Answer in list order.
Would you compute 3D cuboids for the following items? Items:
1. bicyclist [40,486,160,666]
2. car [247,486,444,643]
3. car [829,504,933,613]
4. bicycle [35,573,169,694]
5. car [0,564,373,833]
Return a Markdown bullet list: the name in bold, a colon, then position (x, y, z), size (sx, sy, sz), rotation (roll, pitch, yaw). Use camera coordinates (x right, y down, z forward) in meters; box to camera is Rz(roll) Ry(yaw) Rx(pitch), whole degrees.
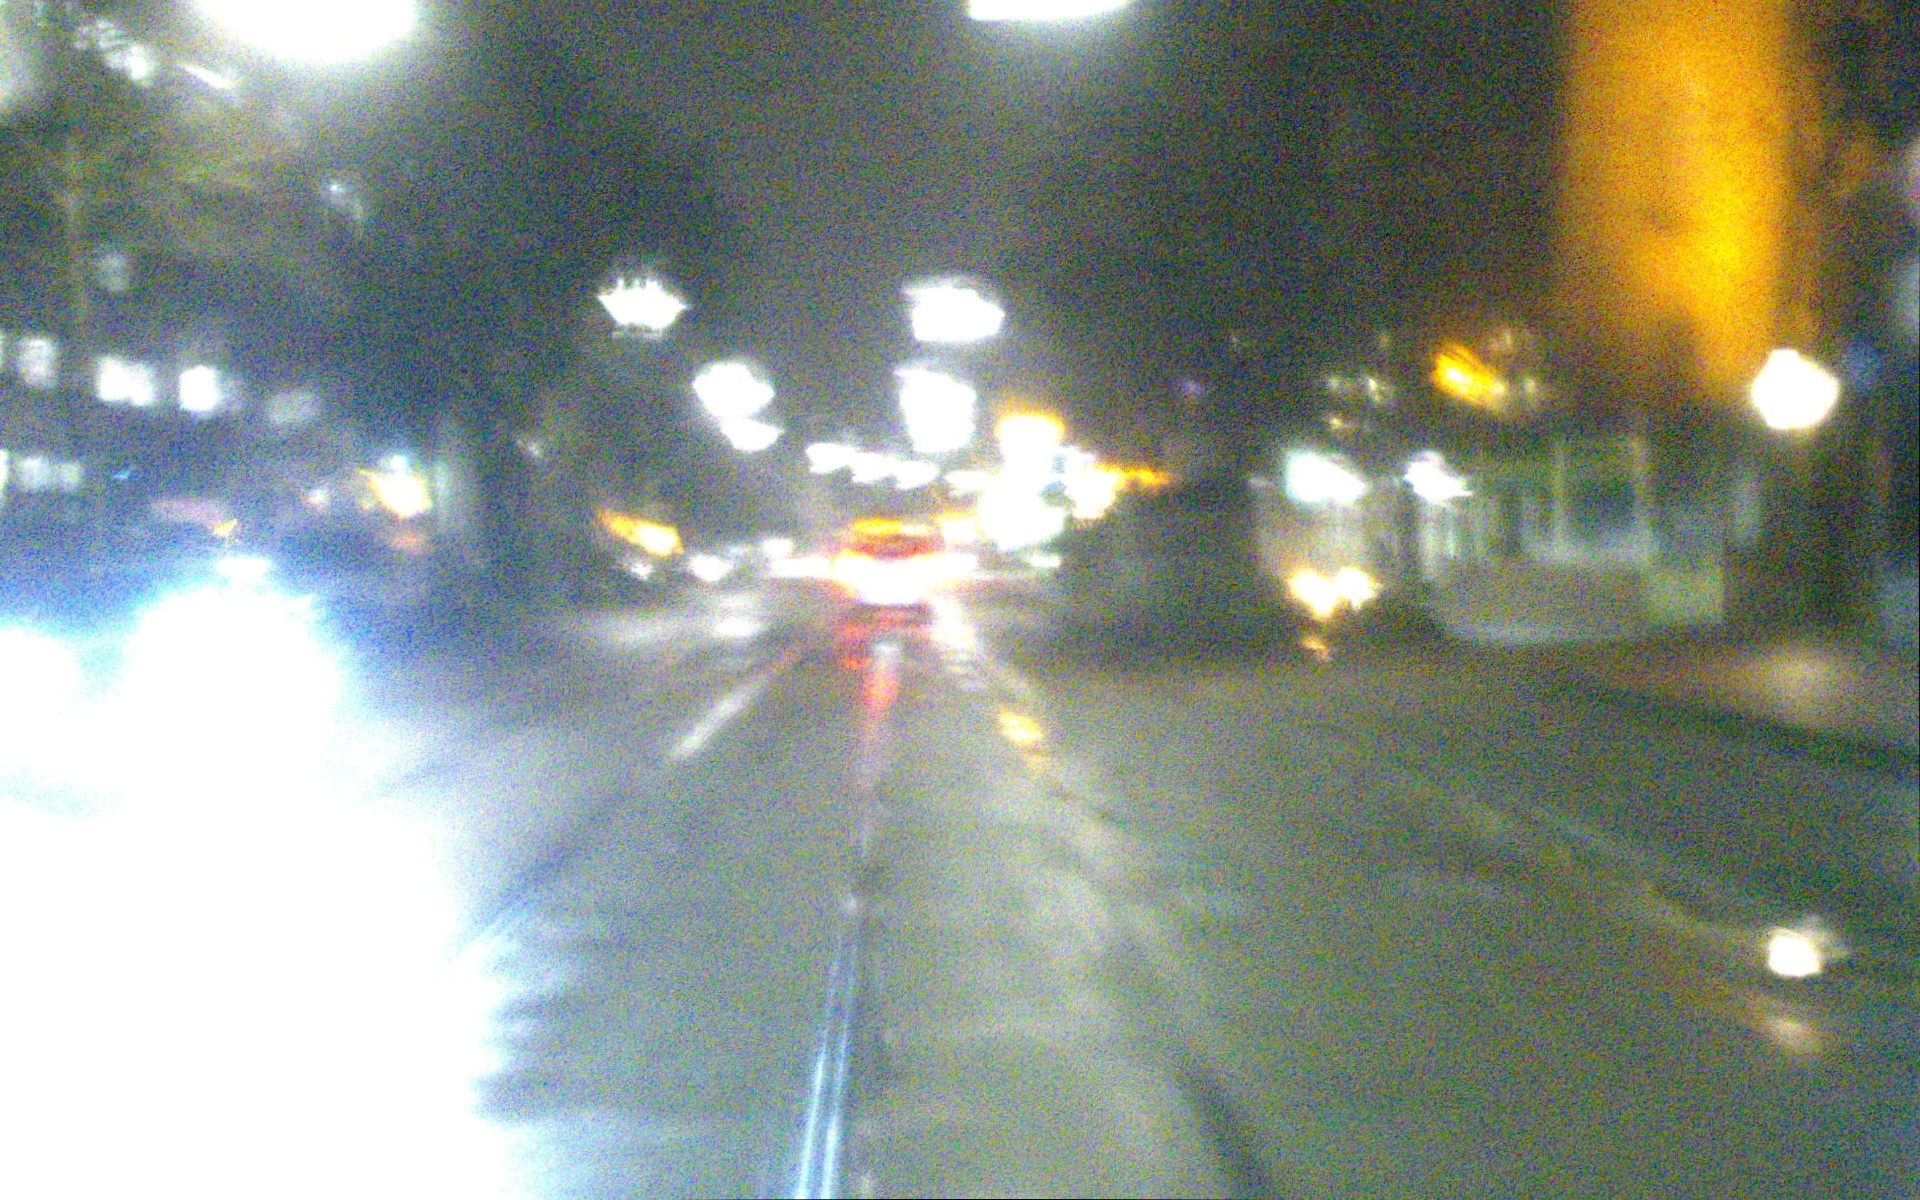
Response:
- **bicyclist**: position (-8.218, -0.235, 32.896), size (0.782, 1.650, 1.206), rotation (-3, 1, -1)
- **car**: position (-10.698, -0.678, 60.346), size (2.185, 2.582, 6.392), rotation (0, 2, 1)
- **car**: position (-1.802, -0.937, 77.172), size (2.244, 2.353, 4.394), rotation (0, 1, -2)
- **bicycle**: position (-8.192, 0.300, 32.899), size (0.782, 1.078, 1.918), rotation (-3, 1, -1)
- **car**: position (-4.990, 0.555, 22.103), size (1.776, 1.512, 4.051), rotation (0, 1, -1)
